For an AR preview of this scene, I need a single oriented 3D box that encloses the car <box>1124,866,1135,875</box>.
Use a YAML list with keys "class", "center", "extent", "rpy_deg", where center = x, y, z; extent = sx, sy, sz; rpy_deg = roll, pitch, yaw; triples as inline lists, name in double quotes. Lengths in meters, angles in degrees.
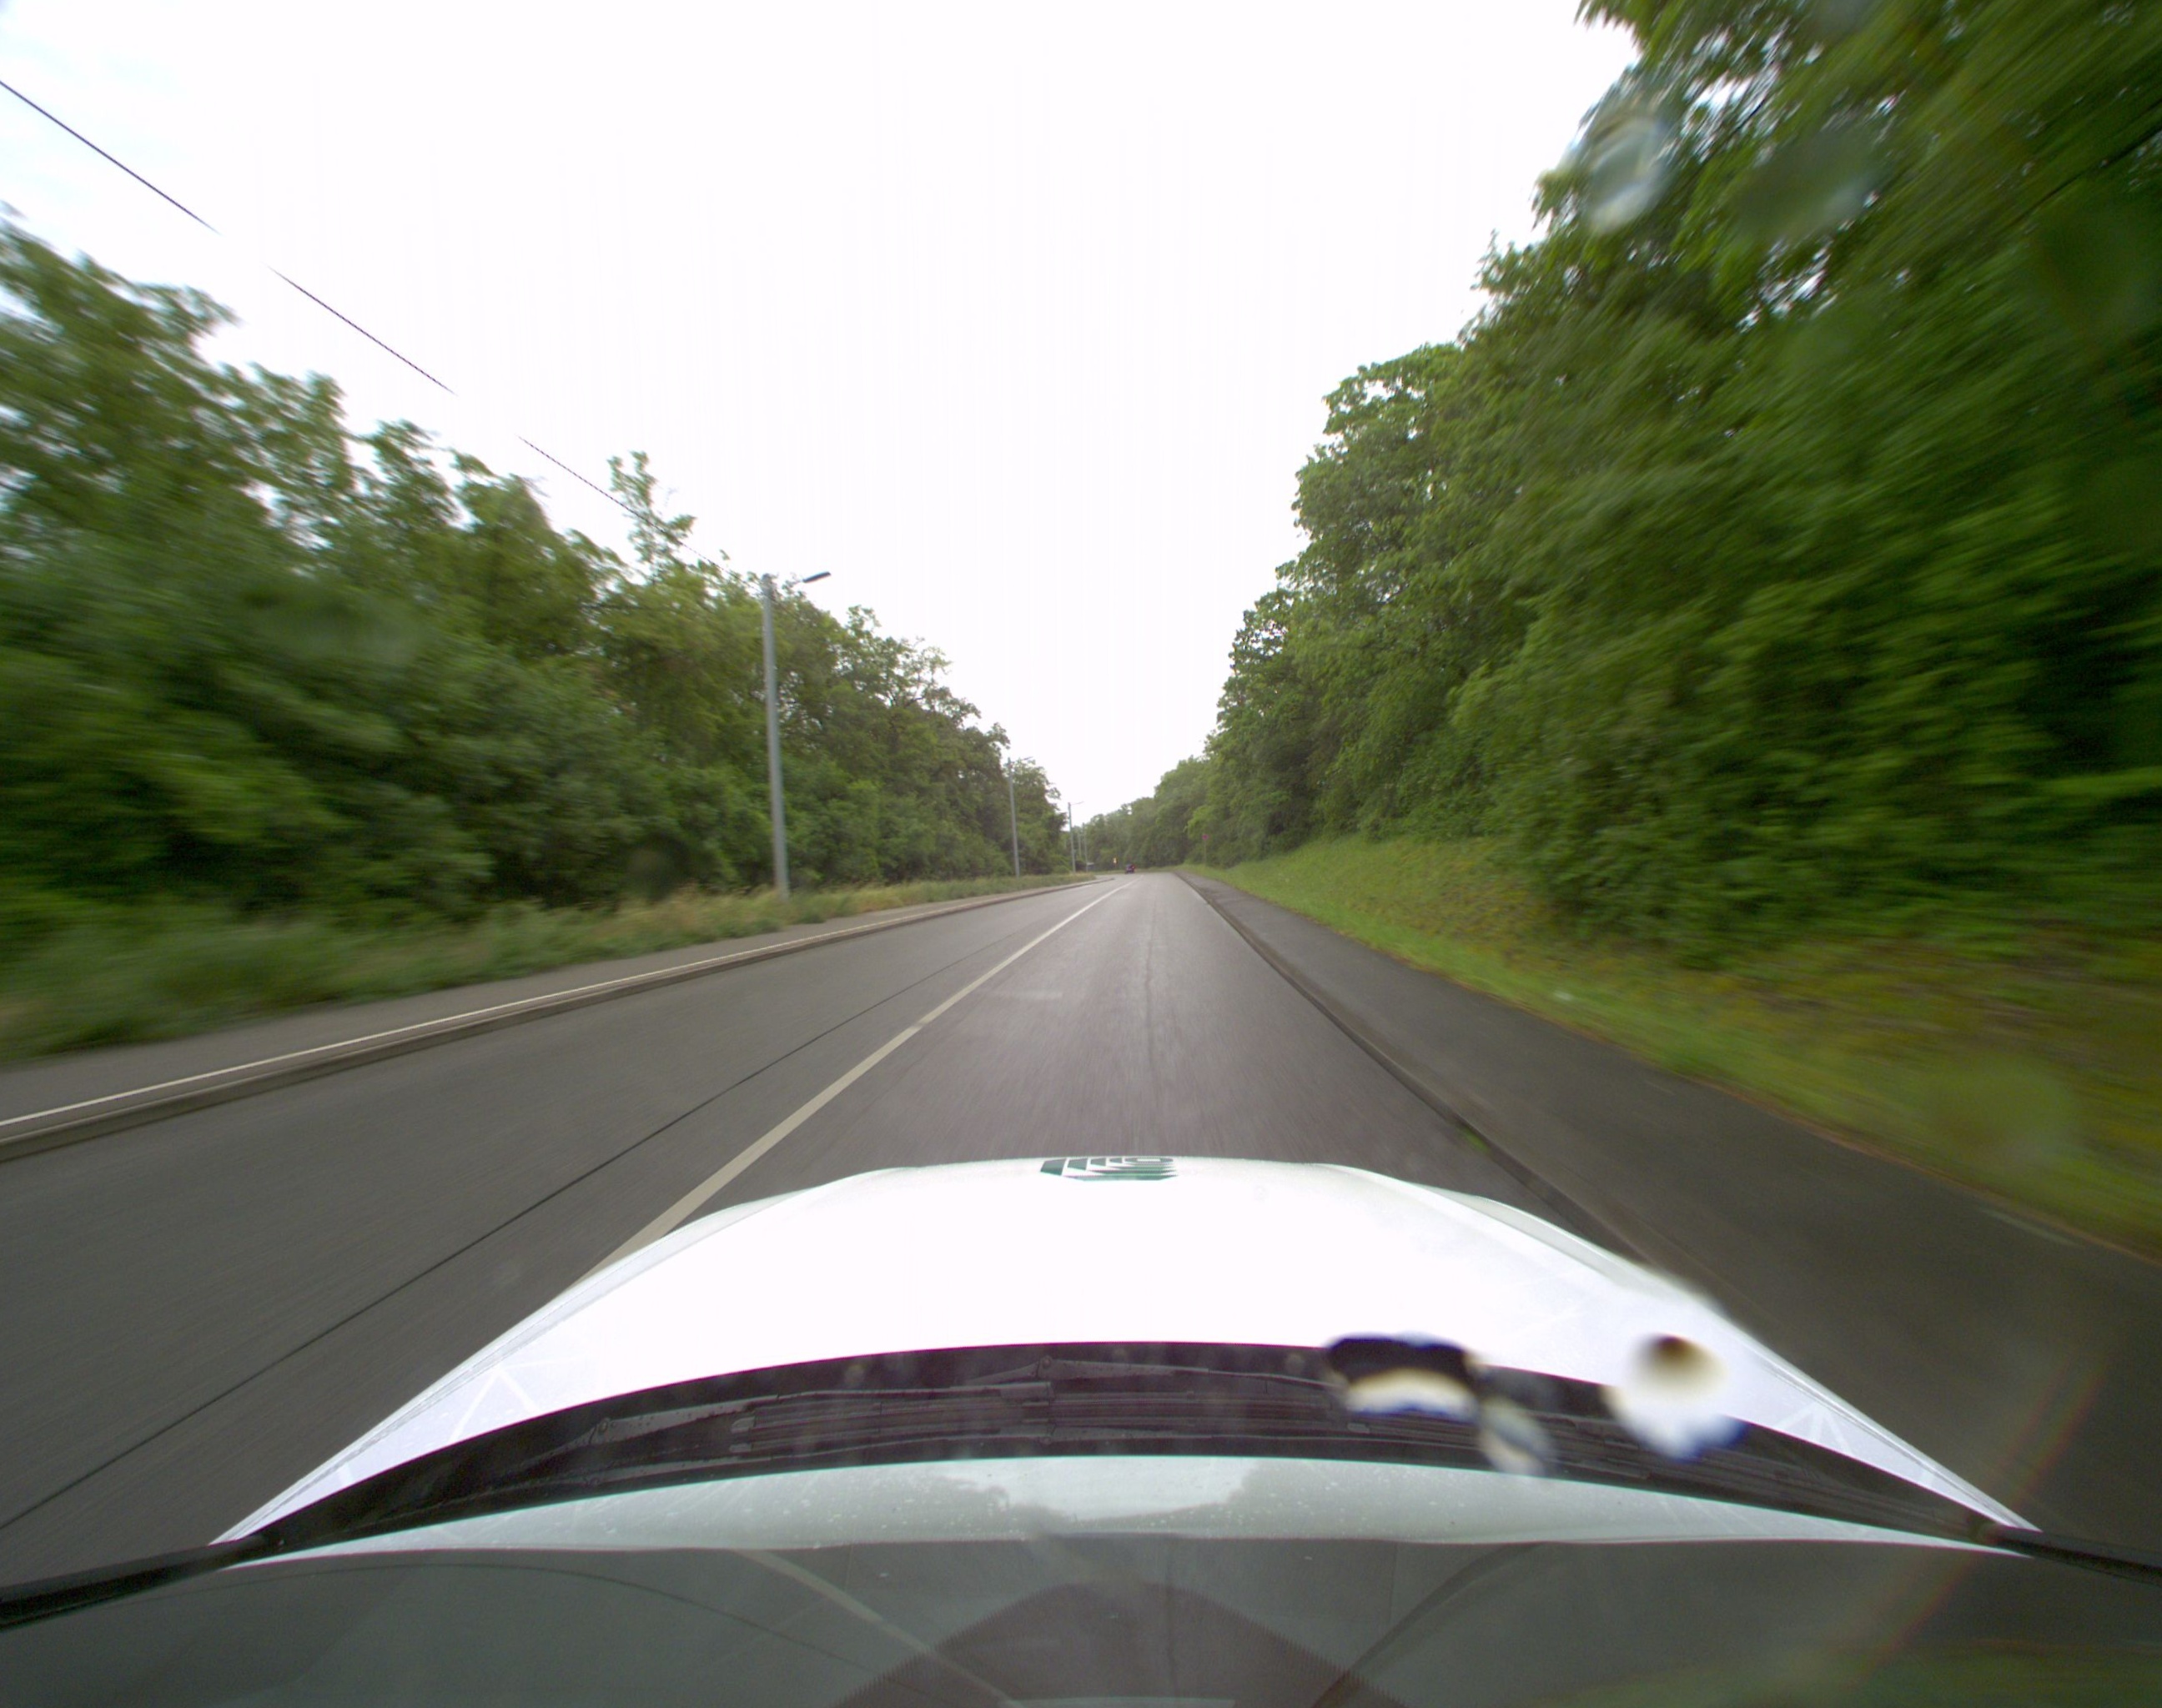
- class: "car"
  center: [9.769, 3.311, 163.578]
  extent: [1.862, 1.596, 3.997]
  rpy_deg: [0, -2, -2]
